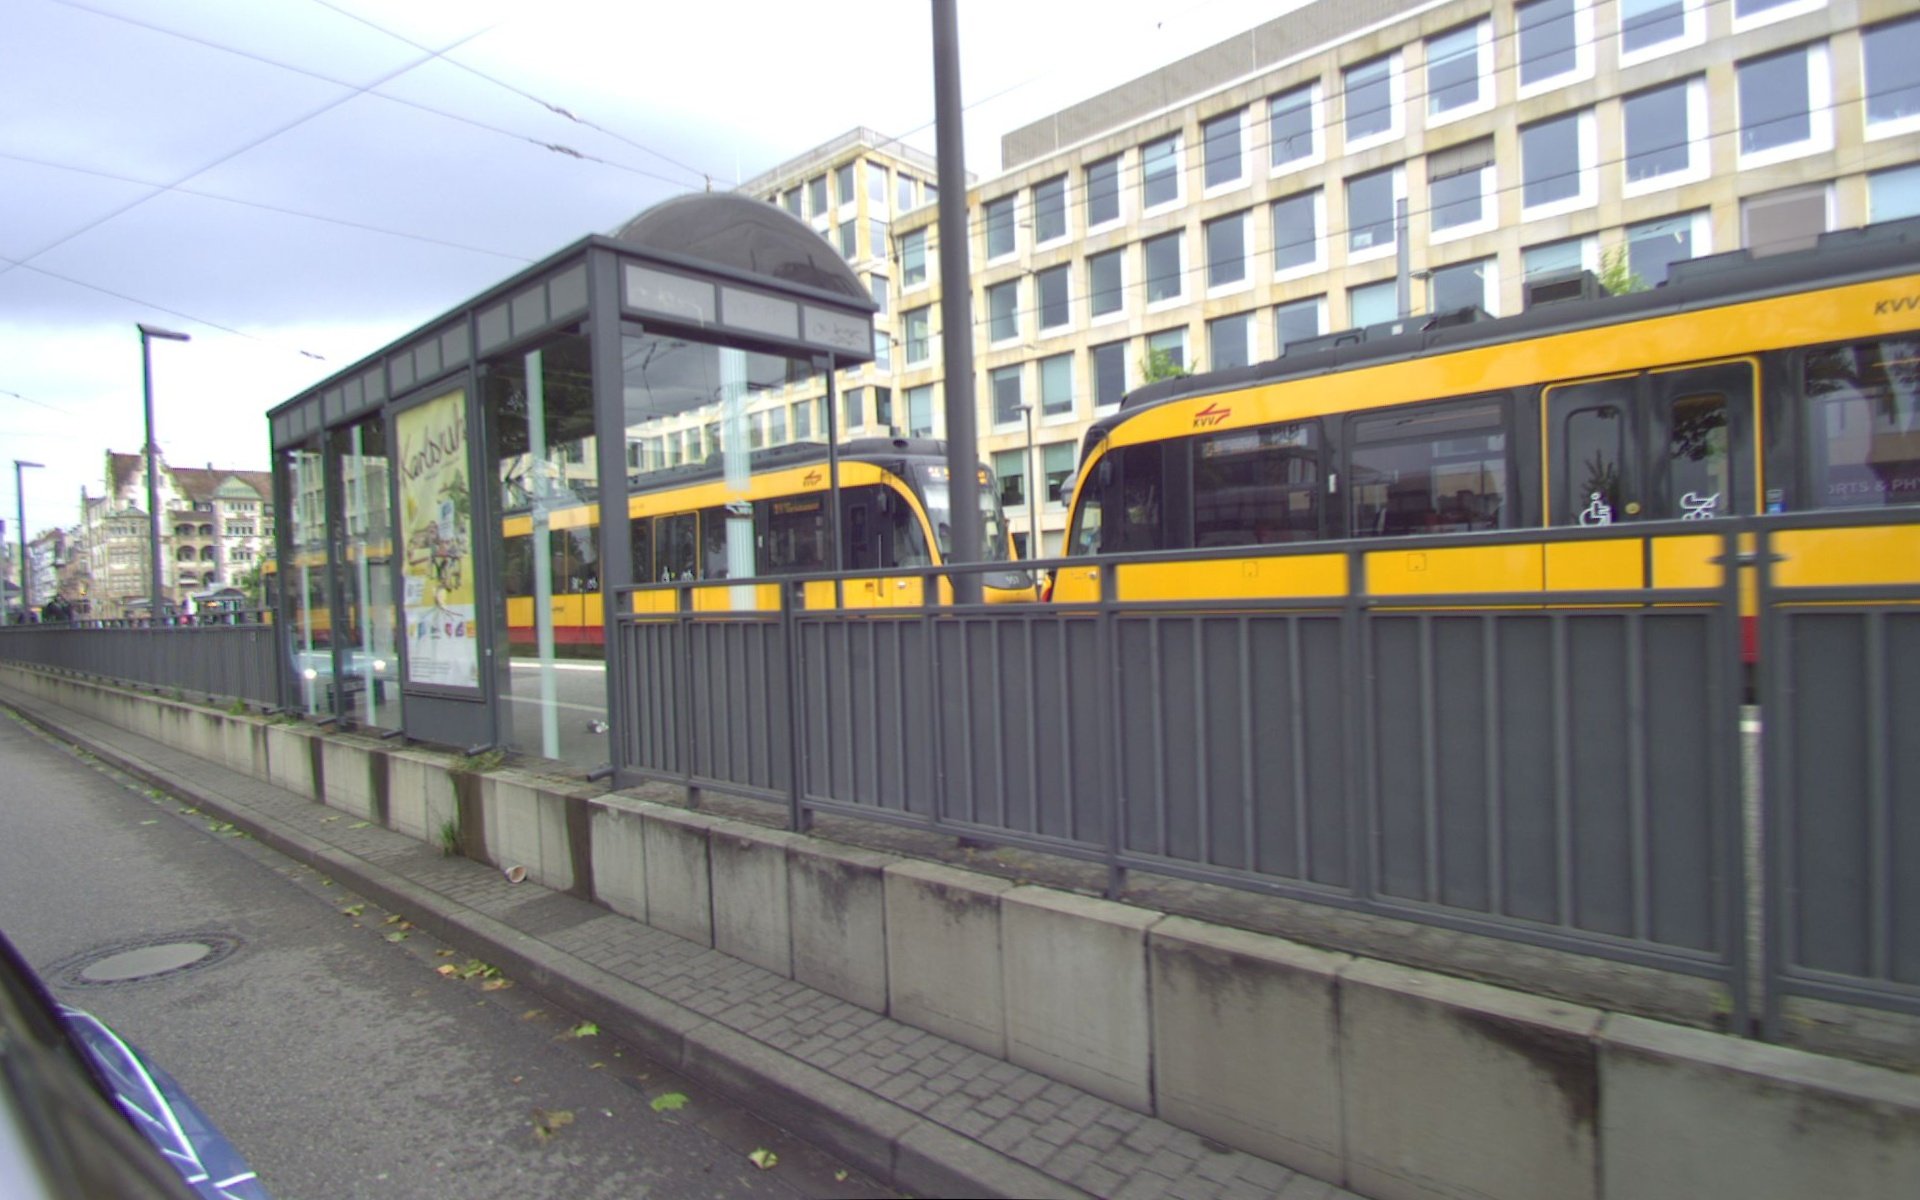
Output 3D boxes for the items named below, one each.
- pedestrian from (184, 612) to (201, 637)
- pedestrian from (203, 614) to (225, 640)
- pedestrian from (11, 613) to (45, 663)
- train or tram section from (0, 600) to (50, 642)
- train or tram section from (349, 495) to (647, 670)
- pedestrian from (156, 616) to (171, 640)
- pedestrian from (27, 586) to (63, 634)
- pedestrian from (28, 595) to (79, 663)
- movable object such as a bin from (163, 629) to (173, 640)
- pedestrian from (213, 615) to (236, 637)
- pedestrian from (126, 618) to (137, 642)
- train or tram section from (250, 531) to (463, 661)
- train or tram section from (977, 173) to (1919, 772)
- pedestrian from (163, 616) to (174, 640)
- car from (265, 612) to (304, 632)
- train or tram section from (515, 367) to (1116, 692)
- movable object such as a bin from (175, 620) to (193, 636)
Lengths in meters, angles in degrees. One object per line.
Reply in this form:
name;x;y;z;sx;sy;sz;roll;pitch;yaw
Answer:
pedestrian;-52.465;1.673;69.198;0.650;1.619;0.578;-2;1;9
pedestrian;-49.846;1.789;67.636;1.026;1.699;0.940;-2;1;-45
pedestrian;-34.589;1.403;37.559;1.110;1.807;0.664;-1;1;34
train or tram section;-91.546;2.032;98.483;13.515;3.719;2.825;-1;1;42
train or tram section;-12.914;-0.355;27.419;11.310;3.891;3.129;-1;1;43
pedestrian;-59.053;2.084;75.043;0.590;1.782;0.587;-2;1;5
pedestrian;-35.156;0.401;38.900;1.108;1.807;0.665;-1;1;29
pedestrian;-27.945;0.891;31.192;0.840;2.029;1.047;-1;1;42
movable object such as a bin;-54.356;2.370;69.466;0.529;0.753;0.469;-2;1;-41
pedestrian;-48.380;1.698;66.557;1.026;1.382;0.940;-2;1;-45
pedestrian;-64.073;2.313;78.283;0.588;1.782;0.589;-2;1;-41
train or tram section;-21.231;-0.088;35.151;11.310;3.891;3.203;-1;1;43
train or tram section;6.731;-0.914;9.291;14.733;4.210;3.146;-1;1;43
pedestrian;-54.032;1.898;69.070;0.529;1.619;0.566;-2;1;-41
car;-58.447;1.898;87.562;4.001;1.674;1.971;-1;1;44
train or tram section;-3.719;-0.861;18.903;13.619;4.210;3.146;-1;1;43
movable object such as a bin;-52.626;1.891;68.613;0.714;1.029;0.619;-2;1;9
